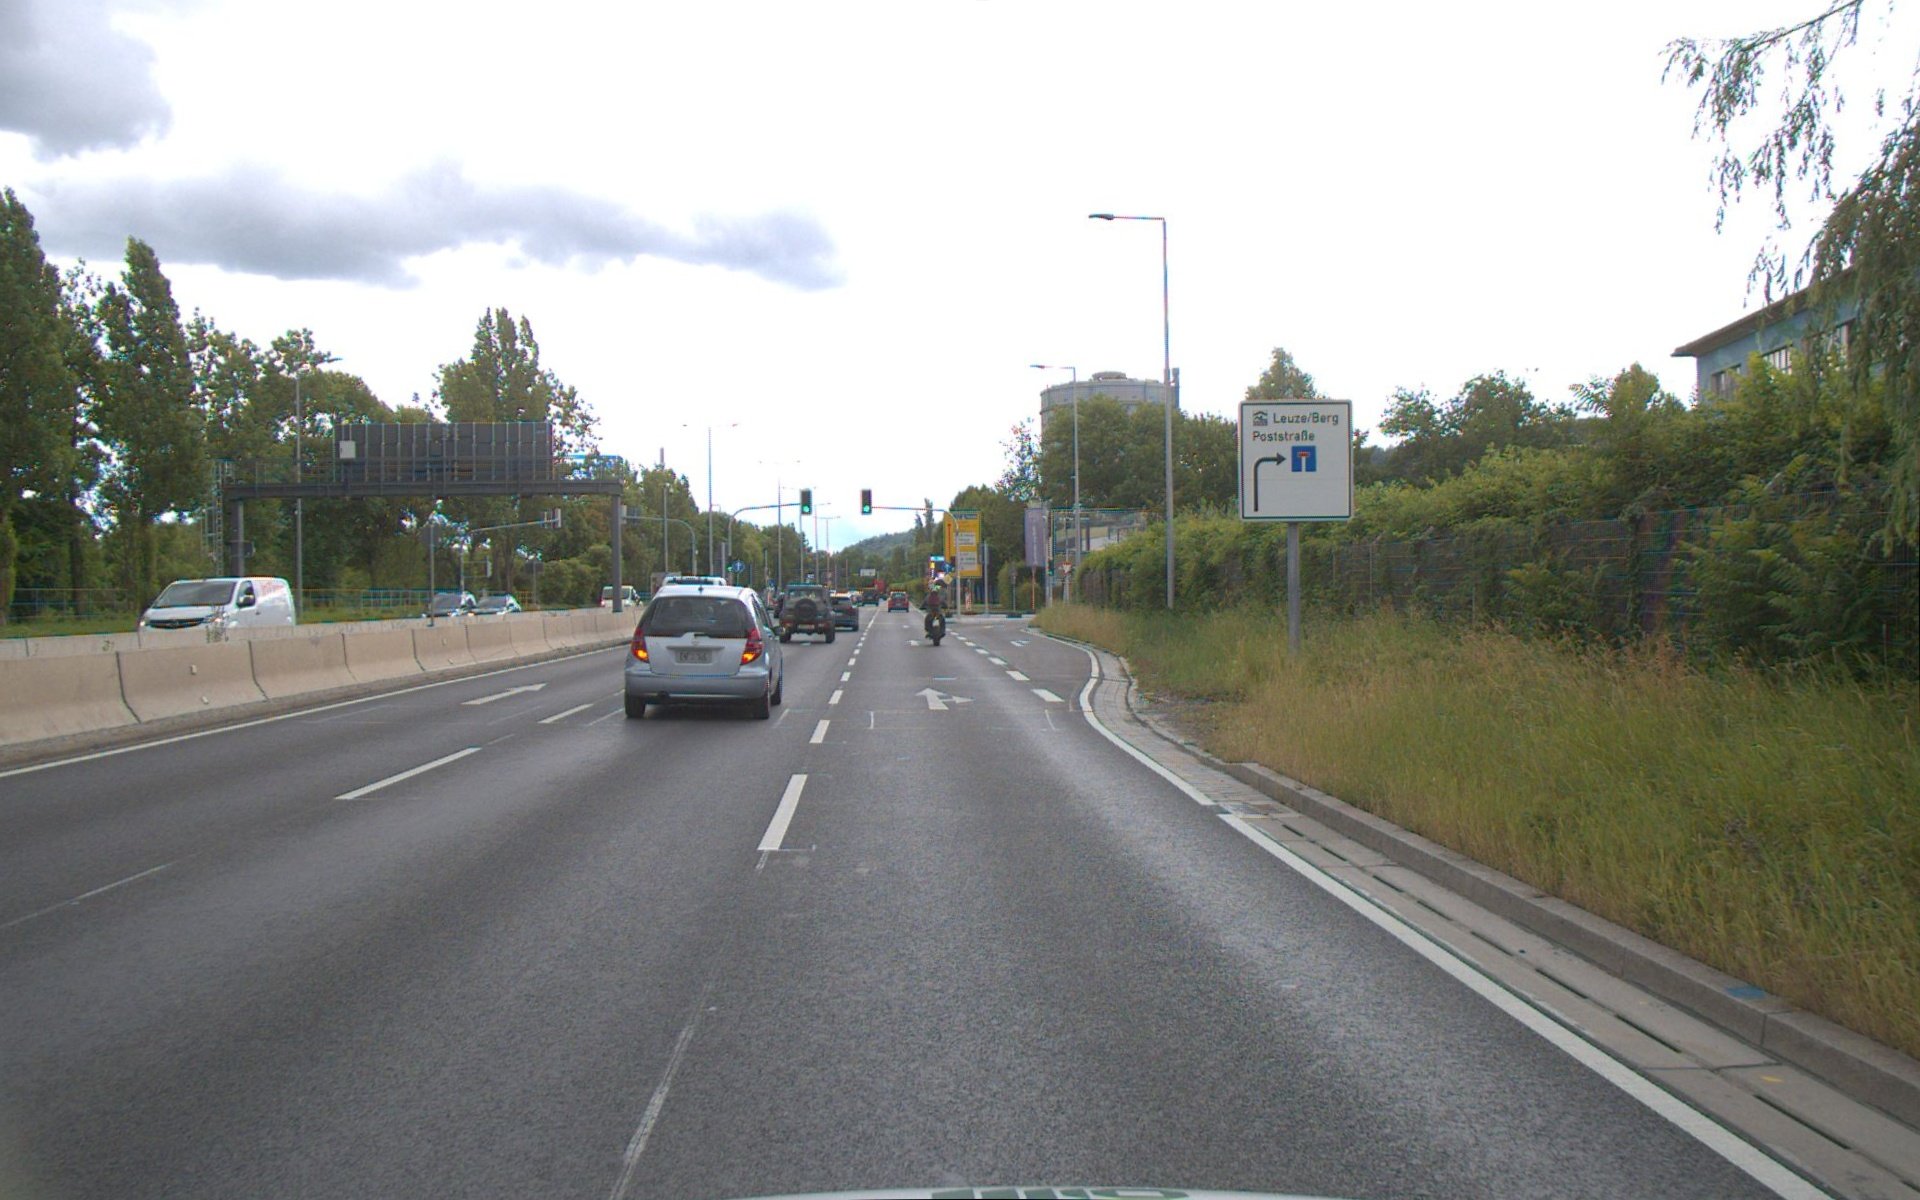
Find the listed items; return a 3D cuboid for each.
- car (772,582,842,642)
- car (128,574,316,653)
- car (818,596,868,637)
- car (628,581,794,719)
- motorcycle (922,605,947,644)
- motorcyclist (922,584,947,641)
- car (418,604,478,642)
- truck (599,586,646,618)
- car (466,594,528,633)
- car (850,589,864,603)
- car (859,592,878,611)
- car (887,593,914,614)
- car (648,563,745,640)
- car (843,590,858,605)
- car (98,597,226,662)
[{"bbox_3d":[-4.639,0.318,50.479,1.869,1.713,3.998,1,0,-2],"label":"car"},{"bbox_3d":[-16.250,0.255,36.733,1.953,1.586,4.885,1,0,0],"label":"car"},{"bbox_3d":[-4.583,0.619,65.242,1.803,1.489,3.998,1,0,-3],"label":"car"},{"bbox_3d":[-3.090,0.564,21.179,1.676,1.556,3.998,1,0,-3],"label":"car"},{"bbox_3d":[-0.737,0.708,47.690,0.692,1.058,2.026,1,0,-1],"label":"motorcycle"},{"bbox_3d":[-0.738,0.356,47.761,0.671,1.638,0.845,1,0,-1],"label":"motorcyclist"},{"bbox_3d":[-24.859,1.110,80.424,1.840,1.712,3.926,1,0,-3],"label":"car"},{"bbox_3d":[-22.435,0.101,110.229,2.160,2.049,6.298,1,0,-3],"label":"truck"},{"bbox_3d":[-21.410,0.611,76.620,1.840,1.712,4.124,1,0,-3],"label":"car"},{"bbox_3d":[-15.561,-0.597,249.678,1.953,2.049,3.999,1,0,-2],"label":"car"},{"bbox_3d":[-10.230,0.127,184.794,1.953,2.049,3.999,1,0,-2],"label":"car"},{"bbox_3d":[-4.629,0.246,128.309,1.954,1.579,3.997,1,0,-4],"label":"car"},{"bbox_3d":[-7.276,0.016,46.194,2.171,1.959,4.998,1,0,-4],"label":"car"},{"bbox_3d":[-14.817,-0.346,224.060,1.953,2.049,3.999,1,0,-2],"label":"car"},{"bbox_3d":[-23.135,0.821,48.146,1.840,1.712,4.120,1,0,-3],"label":"car"}]
